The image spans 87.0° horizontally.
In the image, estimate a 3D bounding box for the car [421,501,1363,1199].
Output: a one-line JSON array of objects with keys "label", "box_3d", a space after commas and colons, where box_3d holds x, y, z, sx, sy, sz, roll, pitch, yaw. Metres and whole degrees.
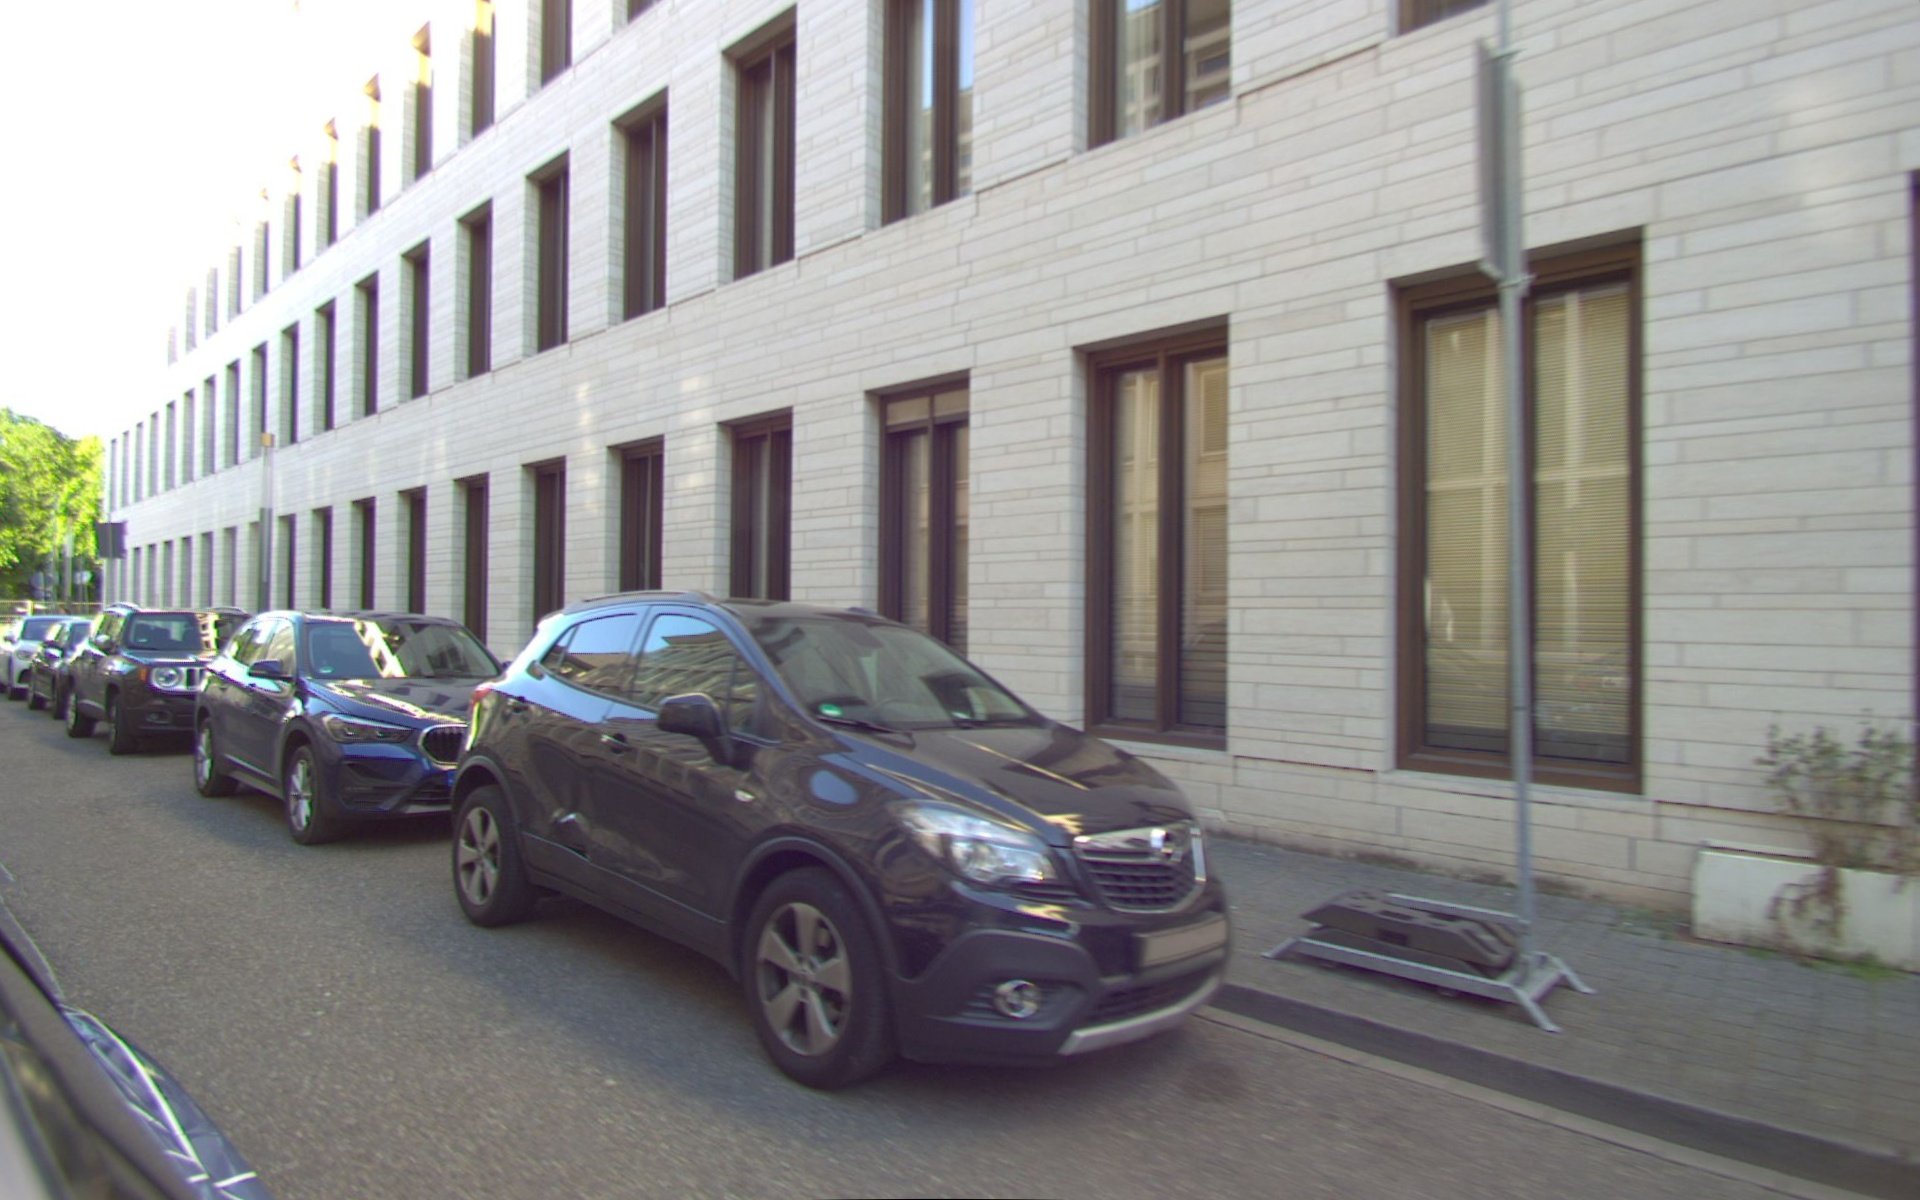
[{"label": "car", "box_3d": [-0.648, 0.685, 4.595, 4.263, 1.690, 1.803, -1, -4, 42]}]

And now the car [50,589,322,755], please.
[{"label": "car", "box_3d": [-9.644, 0.828, 12.514, 4.015, 1.728, 1.804, -1, -4, 40]}]

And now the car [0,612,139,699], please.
[{"label": "car", "box_3d": [-18.119, 1.073, 20.340, 4.445, 1.553, 1.803, -1, -3, 42]}]

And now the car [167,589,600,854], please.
[{"label": "car", "box_3d": [-4.805, 0.814, 8.176, 4.152, 1.607, 1.721, -1, -4, 41]}]

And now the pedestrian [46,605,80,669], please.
[{"label": "pedestrian", "box_3d": [-25.550, 1.037, 28.818, 0.816, 1.803, 0.636, 0, 0, 42]}]

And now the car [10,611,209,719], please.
[{"label": "car", "box_3d": [-14.098, 0.989, 16.695, 4.260, 1.553, 1.804, -1, -2, 40]}]
